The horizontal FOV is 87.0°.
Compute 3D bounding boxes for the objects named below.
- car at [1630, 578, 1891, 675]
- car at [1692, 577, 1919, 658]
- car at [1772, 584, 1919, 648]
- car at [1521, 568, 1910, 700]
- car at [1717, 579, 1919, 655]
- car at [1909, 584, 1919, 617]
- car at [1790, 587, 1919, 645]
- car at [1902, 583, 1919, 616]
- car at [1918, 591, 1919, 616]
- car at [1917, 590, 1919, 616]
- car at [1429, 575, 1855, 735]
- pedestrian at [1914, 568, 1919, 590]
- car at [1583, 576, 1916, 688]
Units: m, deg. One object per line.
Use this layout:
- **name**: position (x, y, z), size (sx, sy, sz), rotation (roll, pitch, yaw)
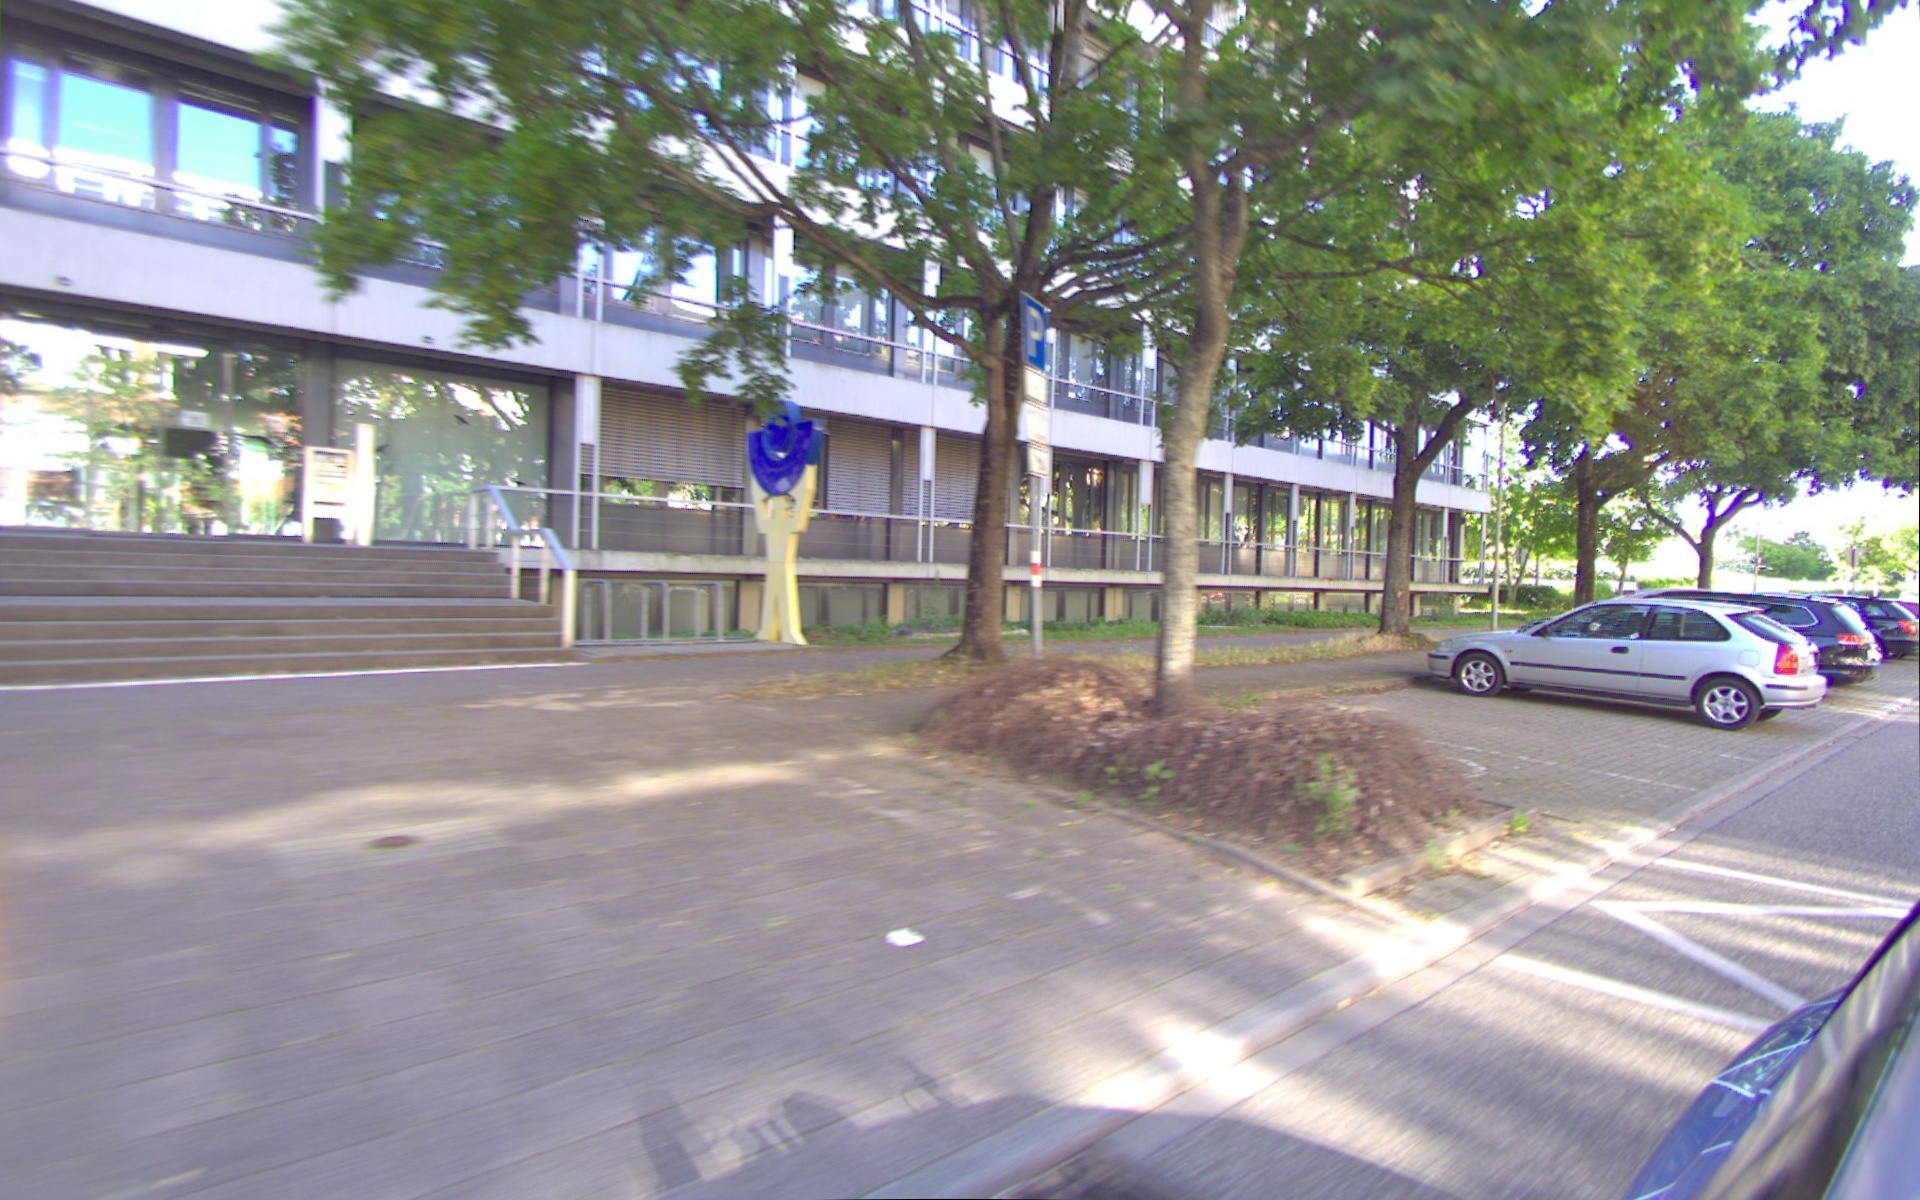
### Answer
- **car**: position (15.380, 0.428, 19.572), size (1.591, 1.511, 3.747), rotation (0, 4, -45)
- **car**: position (20.458, 0.351, 24.161), size (1.890, 1.561, 4.521), rotation (0, 4, -44)
- **car**: position (24.652, 0.411, 27.321), size (1.886, 1.464, 3.851), rotation (0, 4, -36)
- **car**: position (11.672, 0.401, 15.932), size (1.733, 1.511, 4.600), rotation (0, 5, -43)
- **car**: position (22.323, 0.393, 25.715), size (1.886, 1.561, 4.531), rotation (0, 4, -36)
- **car**: position (48.978, 0.190, 48.811), size (4.553, 1.532, 1.951), rotation (7, 6, 44)
- **car**: position (26.686, 0.465, 28.730), size (1.716, 1.493, 4.588), rotation (0, 3, -40)
- **car**: position (46.856, 0.109, 47.246), size (1.671, 1.532, 3.960), rotation (-1, 5, -39)
- **car**: position (52.667, 0.228, 52.131), size (2.120, 1.532, 4.562), rotation (-1, 5, -40)
- **car**: position (50.698, 0.188, 50.578), size (1.720, 1.532, 3.886), rotation (-1, 5, -40)
- **car**: position (8.159, 0.526, 12.424), size (1.680, 1.437, 3.979), rotation (0, 4, -40)
- **pedestrian**: position (68.658, -1.498, 72.273), size (0.920, 1.561, 0.608), rotation (0, 2, -37)
- **car**: position (13.821, 0.447, 17.932), size (1.969, 1.511, 4.296), rotation (0, 4, -40)
